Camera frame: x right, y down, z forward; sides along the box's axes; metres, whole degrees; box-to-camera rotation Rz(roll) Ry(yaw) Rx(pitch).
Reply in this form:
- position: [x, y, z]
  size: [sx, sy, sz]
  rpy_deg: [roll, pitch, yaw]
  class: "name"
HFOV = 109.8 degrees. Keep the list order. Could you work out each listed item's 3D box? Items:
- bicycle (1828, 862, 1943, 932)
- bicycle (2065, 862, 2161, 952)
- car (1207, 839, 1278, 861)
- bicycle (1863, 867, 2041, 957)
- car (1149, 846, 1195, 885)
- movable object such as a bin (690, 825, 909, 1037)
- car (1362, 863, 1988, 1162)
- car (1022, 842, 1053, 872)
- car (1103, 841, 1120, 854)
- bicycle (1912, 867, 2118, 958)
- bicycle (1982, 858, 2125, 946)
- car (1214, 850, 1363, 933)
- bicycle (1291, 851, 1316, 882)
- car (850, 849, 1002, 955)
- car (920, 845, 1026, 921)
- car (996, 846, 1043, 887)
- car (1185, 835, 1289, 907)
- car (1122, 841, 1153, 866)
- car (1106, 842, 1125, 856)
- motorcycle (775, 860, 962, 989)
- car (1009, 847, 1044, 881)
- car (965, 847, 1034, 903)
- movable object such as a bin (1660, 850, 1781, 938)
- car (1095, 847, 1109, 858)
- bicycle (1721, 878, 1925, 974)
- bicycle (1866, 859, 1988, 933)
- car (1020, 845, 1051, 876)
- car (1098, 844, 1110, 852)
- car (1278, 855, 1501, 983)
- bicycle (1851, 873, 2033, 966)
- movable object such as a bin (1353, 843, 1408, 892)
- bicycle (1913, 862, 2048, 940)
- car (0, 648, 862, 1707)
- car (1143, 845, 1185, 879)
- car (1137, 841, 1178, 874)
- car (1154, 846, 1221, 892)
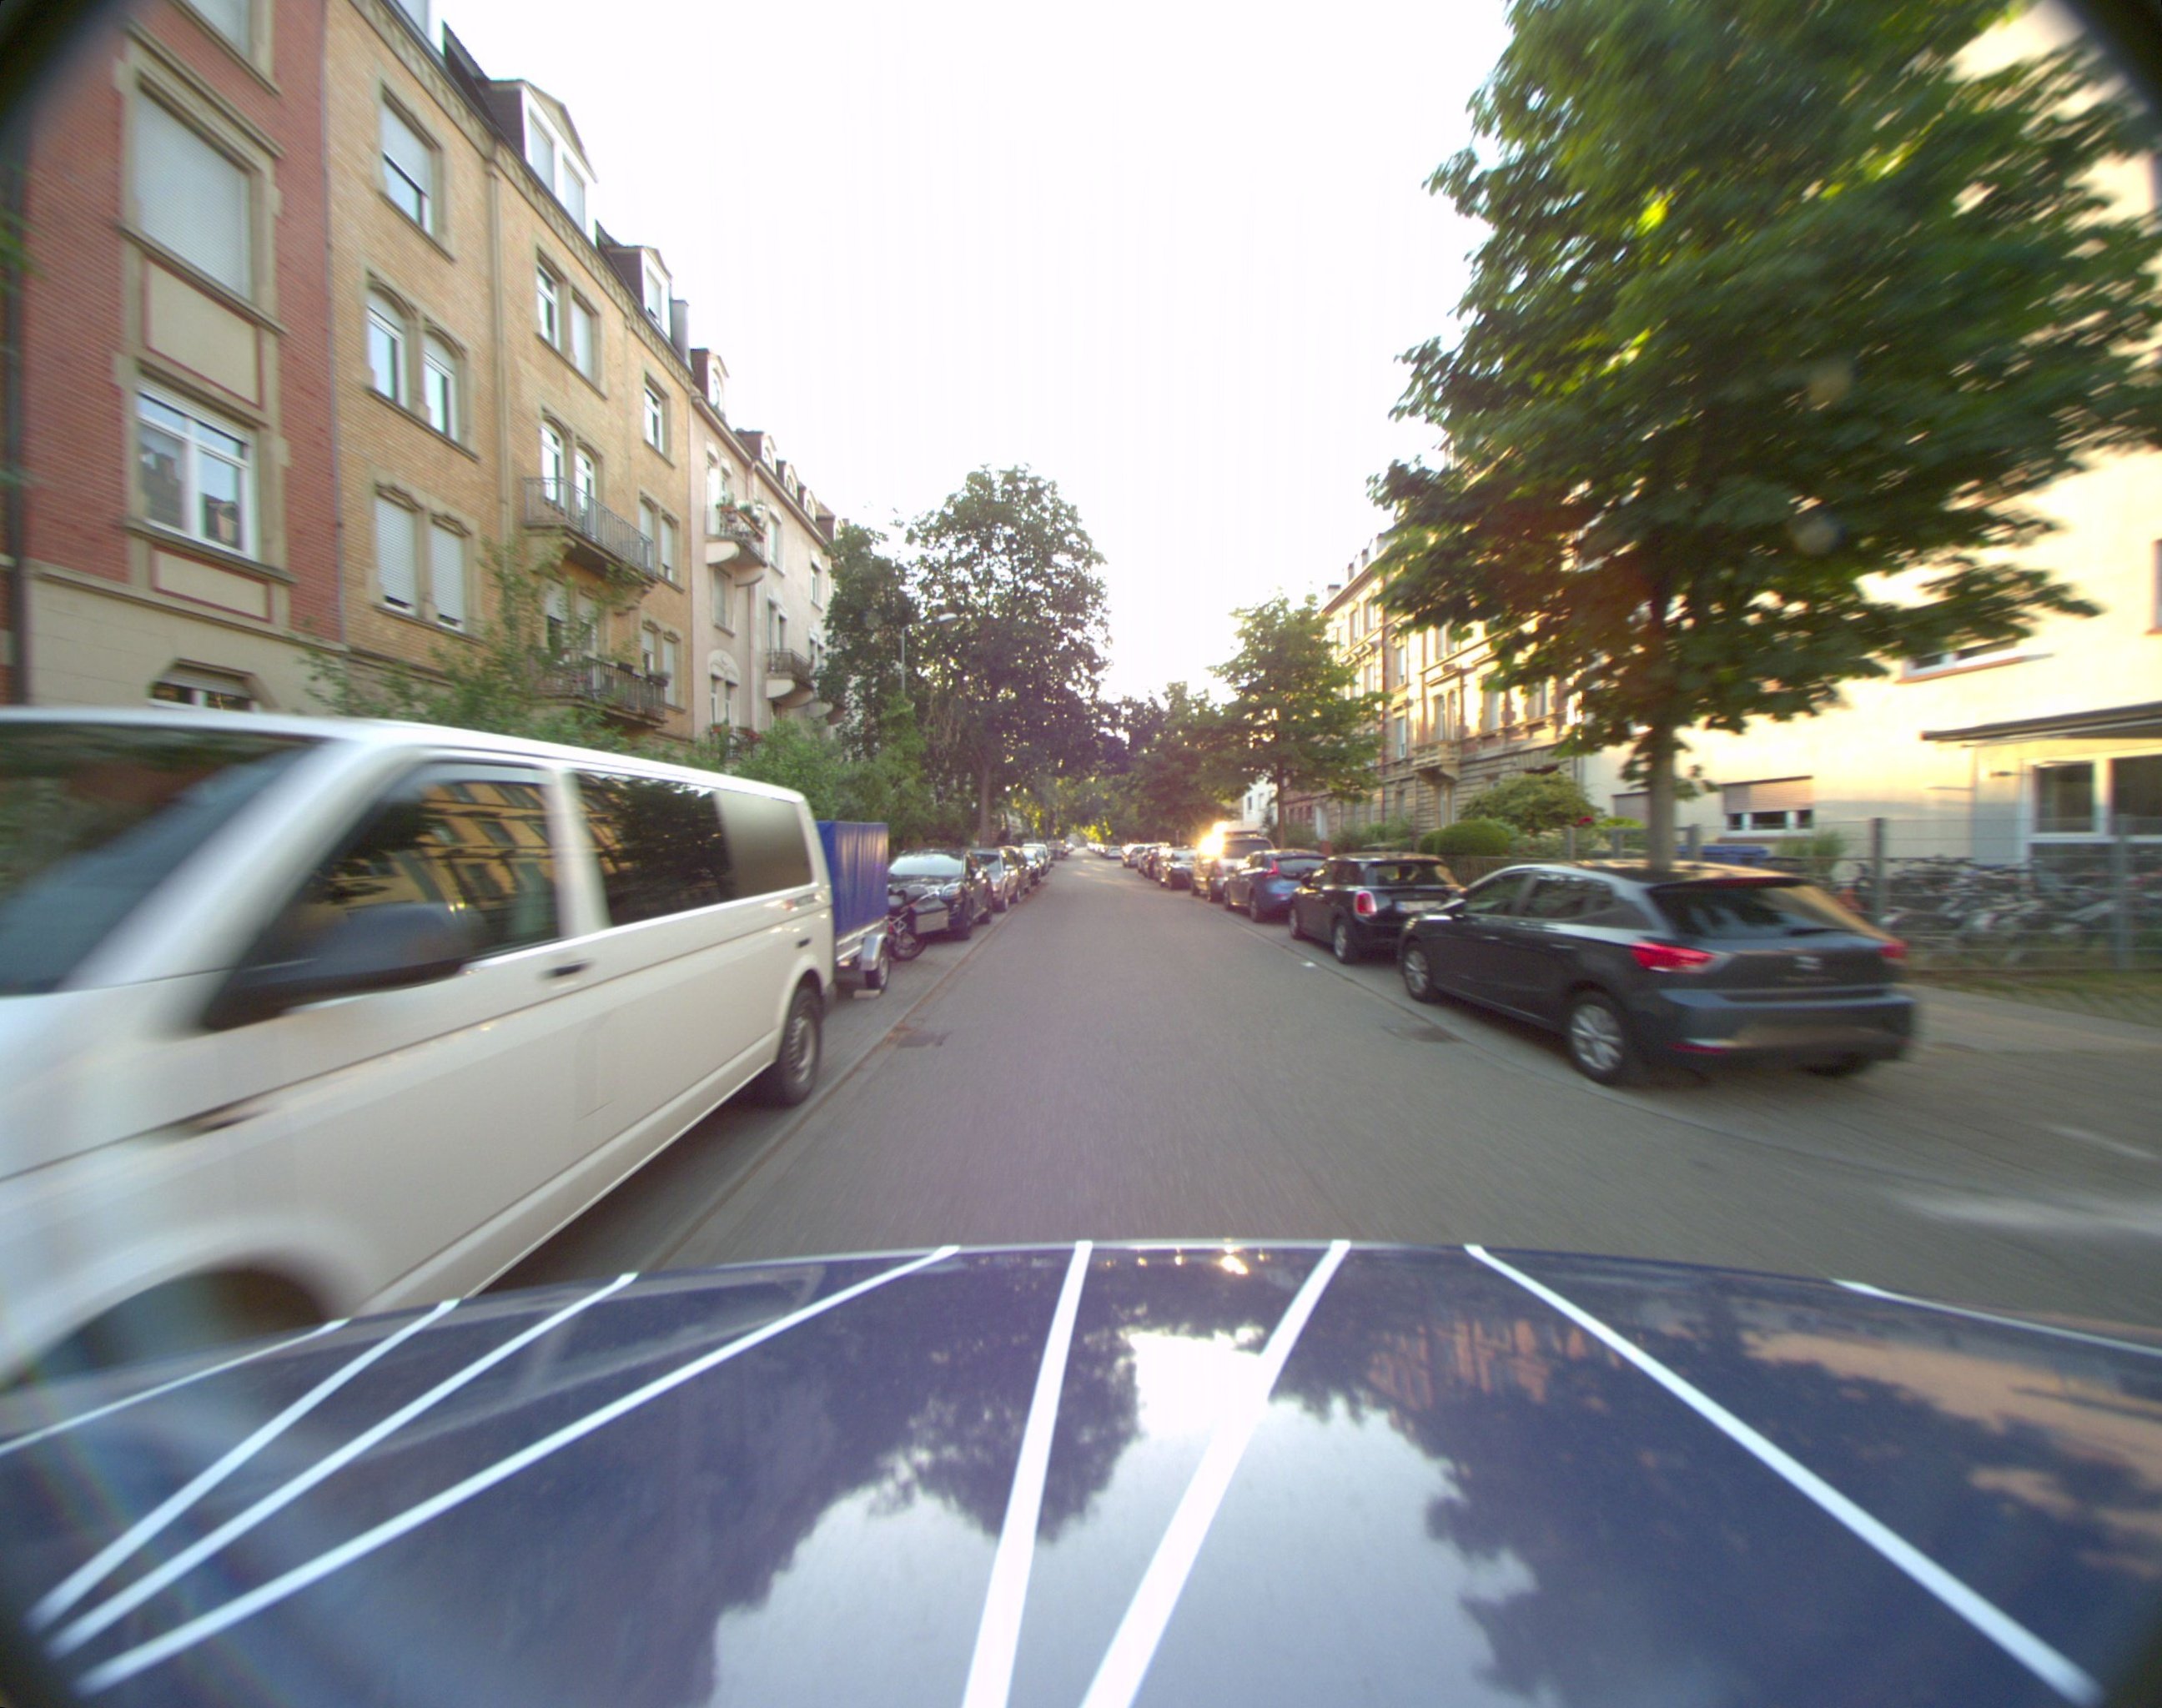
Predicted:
- position: [13.546, 0.710, 12.806]
  size: [1.548, 1.086, 0.500]
  rpy_deg: [-2, 2, -6]
  class: "bicycle"
- position: [13.947, 0.677, 9.983]
  size: [1.548, 1.086, 0.500]
  rpy_deg: [-2, 1, -6]
  class: "bicycle"
- position: [10.778, -0.286, 50.989]
  size: [4.413, 1.334, 1.625]
  rpy_deg: [-1, 2, 1]
  class: "car"
- position: [11.659, 0.737, 10.223]
  size: [0.502, 1.086, 1.544]
  rpy_deg: [-3, 2, -38]
  class: "bicycle"
- position: [3.837, 0.437, 32.338]
  size: [1.441, 1.485, 3.297]
  rpy_deg: [-1, 1, -2]
  class: "car"
- position: [-2.771, 0.663, 7.916]
  size: [1.415, 1.867, 2.324]
  rpy_deg: [1, 2, -1]
  class: "movable object such as a bin"
- position: [4.091, 0.896, 6.399]
  size: [1.679, 1.453, 4.461]
  rpy_deg: [-1, 1, -2]
  class: "car"
- position: [-2.621, 0.125, 46.809]
  size: [1.737, 1.692, 4.167]
  rpy_deg: [-1, 1, -2]
  class: "car"
- position: [3.730, -0.808, 92.686]
  size: [1.840, 1.484, 3.640]
  rpy_deg: [-1, 1, 0]
  class: "car"
- position: [12.325, 0.733, 10.091]
  size: [0.386, 1.086, 1.707]
  rpy_deg: [-3, 2, -36]
  class: "bicycle"
- position: [13.780, 0.665, 10.778]
  size: [1.548, 1.135, 0.500]
  rpy_deg: [-2, 2, -6]
  class: "bicycle"
- position: [4.249, 0.685, 16.377]
  size: [1.866, 1.404, 4.589]
  rpy_deg: [-1, 1, -1]
  class: "car"
- position: [8.357, 0.463, 28.547]
  size: [0.457, 1.103, 1.633]
  rpy_deg: [-2, 1, 0]
  class: "bicycle"
- position: [-2.633, 0.735, 13.973]
  size: [1.724, 1.542, 4.324]
  rpy_deg: [-1, 1, 2]
  class: "car"
- position: [-2.557, 0.617, 19.224]
  size: [1.761, 1.573, 4.841]
  rpy_deg: [-2, 1, 2]
  class: "car"
- position: [-2.486, 0.476, 31.582]
  size: [1.737, 1.498, 4.162]
  rpy_deg: [-1, 1, -2]
  class: "car"
- position: [4.230, 0.381, 21.376]
  size: [1.866, 1.769, 4.621]
  rpy_deg: [-1, 1, -1]
  class: "car"
- position: [3.951, -0.046, 53.380]
  size: [1.677, 1.628, 3.939]
  rpy_deg: [-1, 1, -3]
  class: "car"
- position: [3.914, -0.587, 87.051]
  size: [1.953, 1.484, 3.737]
  rpy_deg: [-1, 1, 0]
  class: "car"
- position: [-2.759, 0.829, 9.905]
  size: [2.099, 1.474, 1.130]
  rpy_deg: [0, 2, -33]
  class: "motorcycle"
- position: [-2.589, 0.446, 36.797]
  size: [1.479, 1.498, 3.927]
  rpy_deg: [-1, 1, -2]
  class: "car"
- position: [-2.460, 0.602, 23.722]
  size: [1.590, 1.516, 3.602]
  rpy_deg: [-2, 1, 2]
  class: "car"
- position: [10.703, 0.630, 12.786]
  size: [0.868, 1.345, 1.398]
  rpy_deg: [-2, 2, 2]
  class: "movable object such as a bin"
- position: [3.065, -0.259, 110.386]
  size: [1.840, 1.484, 3.640]
  rpy_deg: [-1, 1, 0]
  class: "car"
- position: [9.642, 0.880, 9.995]
  size: [0.689, 1.020, 1.930]
  rpy_deg: [-2, 1, -6]
  class: "bicycle"
- position: [13.601, 0.665, 12.226]
  size: [1.548, 1.086, 0.500]
  rpy_deg: [-2, 2, -6]
  class: "bicycle"
- position: [-2.436, 0.314, 41.196]
  size: [1.502, 1.538, 3.337]
  rpy_deg: [-1, 1, -2]
  class: "car"
- position: [4.119, -1.095, 136.677]
  size: [1.840, 1.484, 3.640]
  rpy_deg: [-1, 1, 0]
  class: "car"
- position: [4.251, 0.796, 11.223]
  size: [1.746, 1.412, 4.142]
  rpy_deg: [-1, 1, 2]
  class: "car"
- position: [11.216, 0.810, 9.952]
  size: [0.502, 1.086, 1.544]
  rpy_deg: [-3, 2, -37]
  class: "bicycle"
- position: [9.002, 0.377, 22.902]
  size: [0.948, 1.379, 1.550]
  rpy_deg: [-2, 2, -3]
  class: "movable object such as a bin"
- position: [13.724, 0.698, 11.605]
  size: [1.635, 1.086, 0.500]
  rpy_deg: [-2, 2, -6]
  class: "bicycle"
- position: [-2.546, 0.658, 2.954]
  size: [1.866, 2.027, 5.542]
  rpy_deg: [1, 1, -1]
  class: "car"
- position: [3.933, 0.348, 36.471]
  size: [1.682, 1.490, 3.625]
  rpy_deg: [-1, 1, 2]
  class: "car"
- position: [4.181, 0.169, 41.832]
  size: [1.866, 1.653, 4.020]
  rpy_deg: [-1, 1, 1]
  class: "car"
- position: [3.801, 0.485, 27.622]
  size: [1.733, 1.433, 4.023]
  rpy_deg: [-1, 1, -2]
  class: "car"
